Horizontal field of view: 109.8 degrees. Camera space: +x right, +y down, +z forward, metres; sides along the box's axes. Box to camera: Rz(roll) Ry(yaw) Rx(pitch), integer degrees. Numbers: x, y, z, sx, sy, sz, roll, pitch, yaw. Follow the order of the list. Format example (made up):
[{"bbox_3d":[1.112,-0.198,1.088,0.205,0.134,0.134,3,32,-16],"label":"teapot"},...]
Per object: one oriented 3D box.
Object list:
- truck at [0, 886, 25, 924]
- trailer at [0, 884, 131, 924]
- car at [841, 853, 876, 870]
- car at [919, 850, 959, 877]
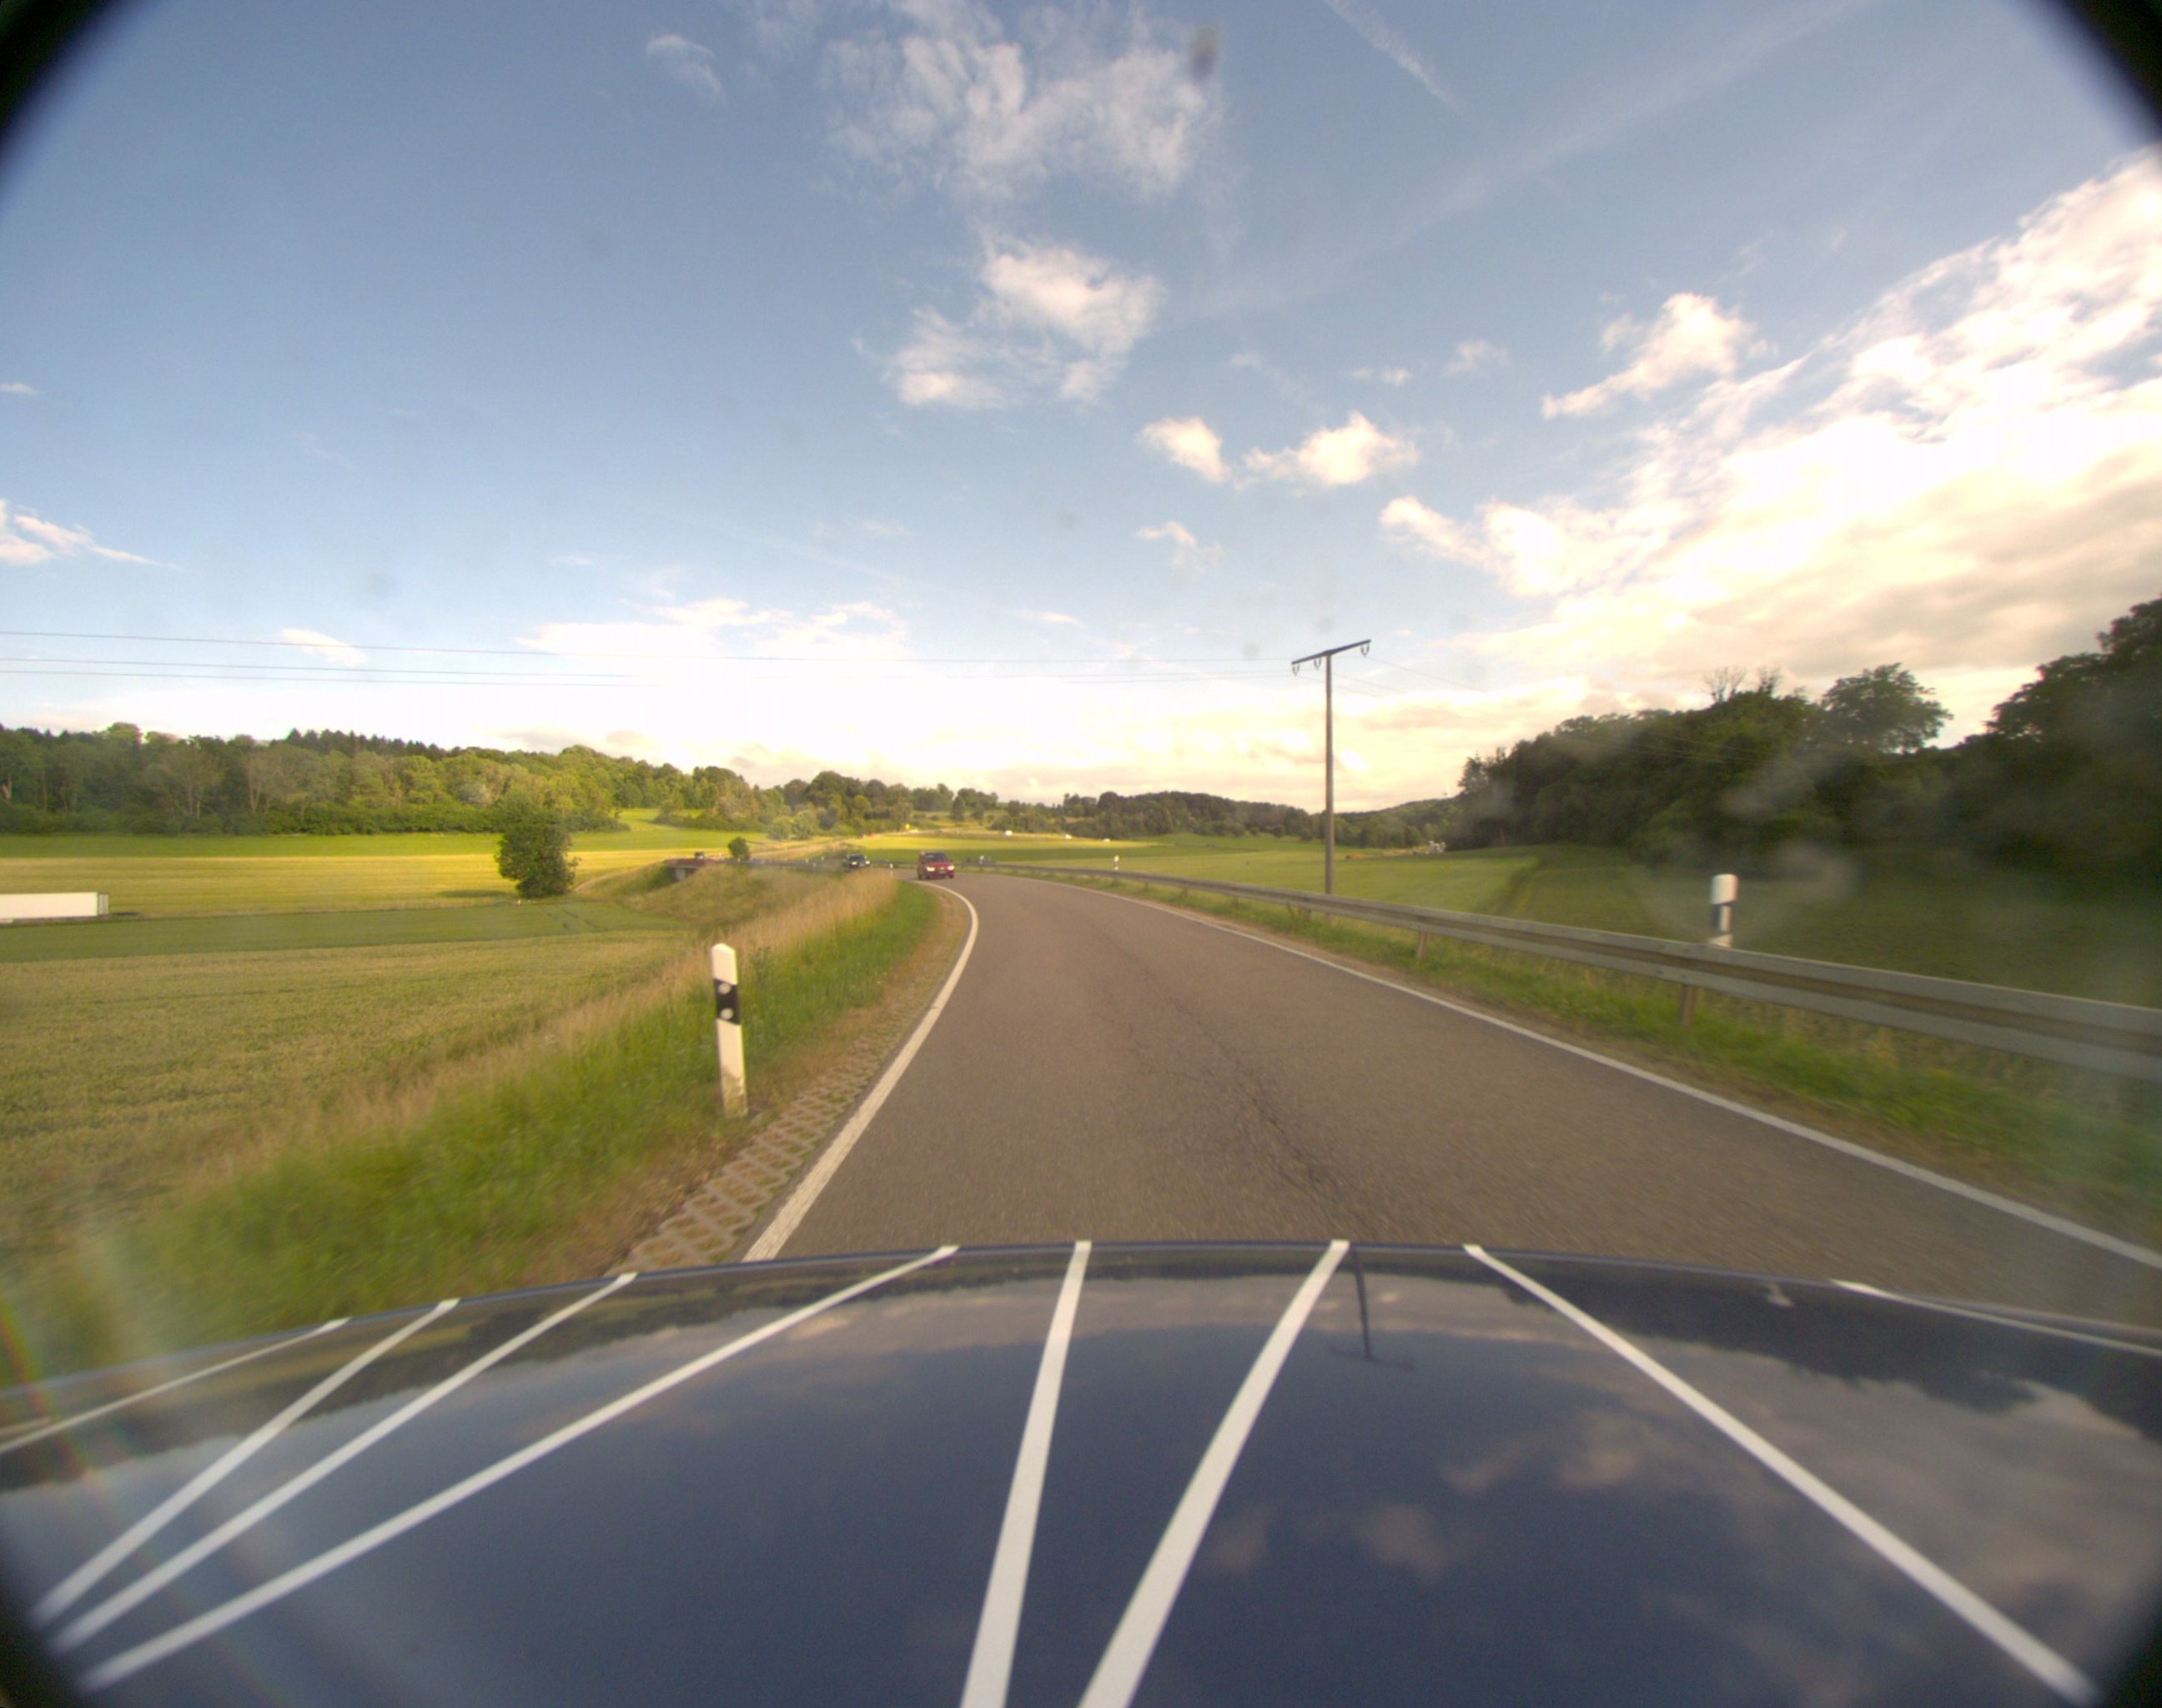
[{"bbox_3d":[-130.406,6.090,88.494,8.070,4.441,3.023,-1,-2,-33],"label":"truck"},{"bbox_3d":[-125.255,6.041,91.833,12.749,4.441,3.025,-1,-2,-33],"label":"trailer"},{"bbox_3d":[-21.581,0.767,73.677,1.826,1.601,3.989,0,-1,-39],"label":"car"},{"bbox_3d":[-9.282,0.630,49.376,1.824,1.645,3.993,-2,0,-21],"label":"car"}]
